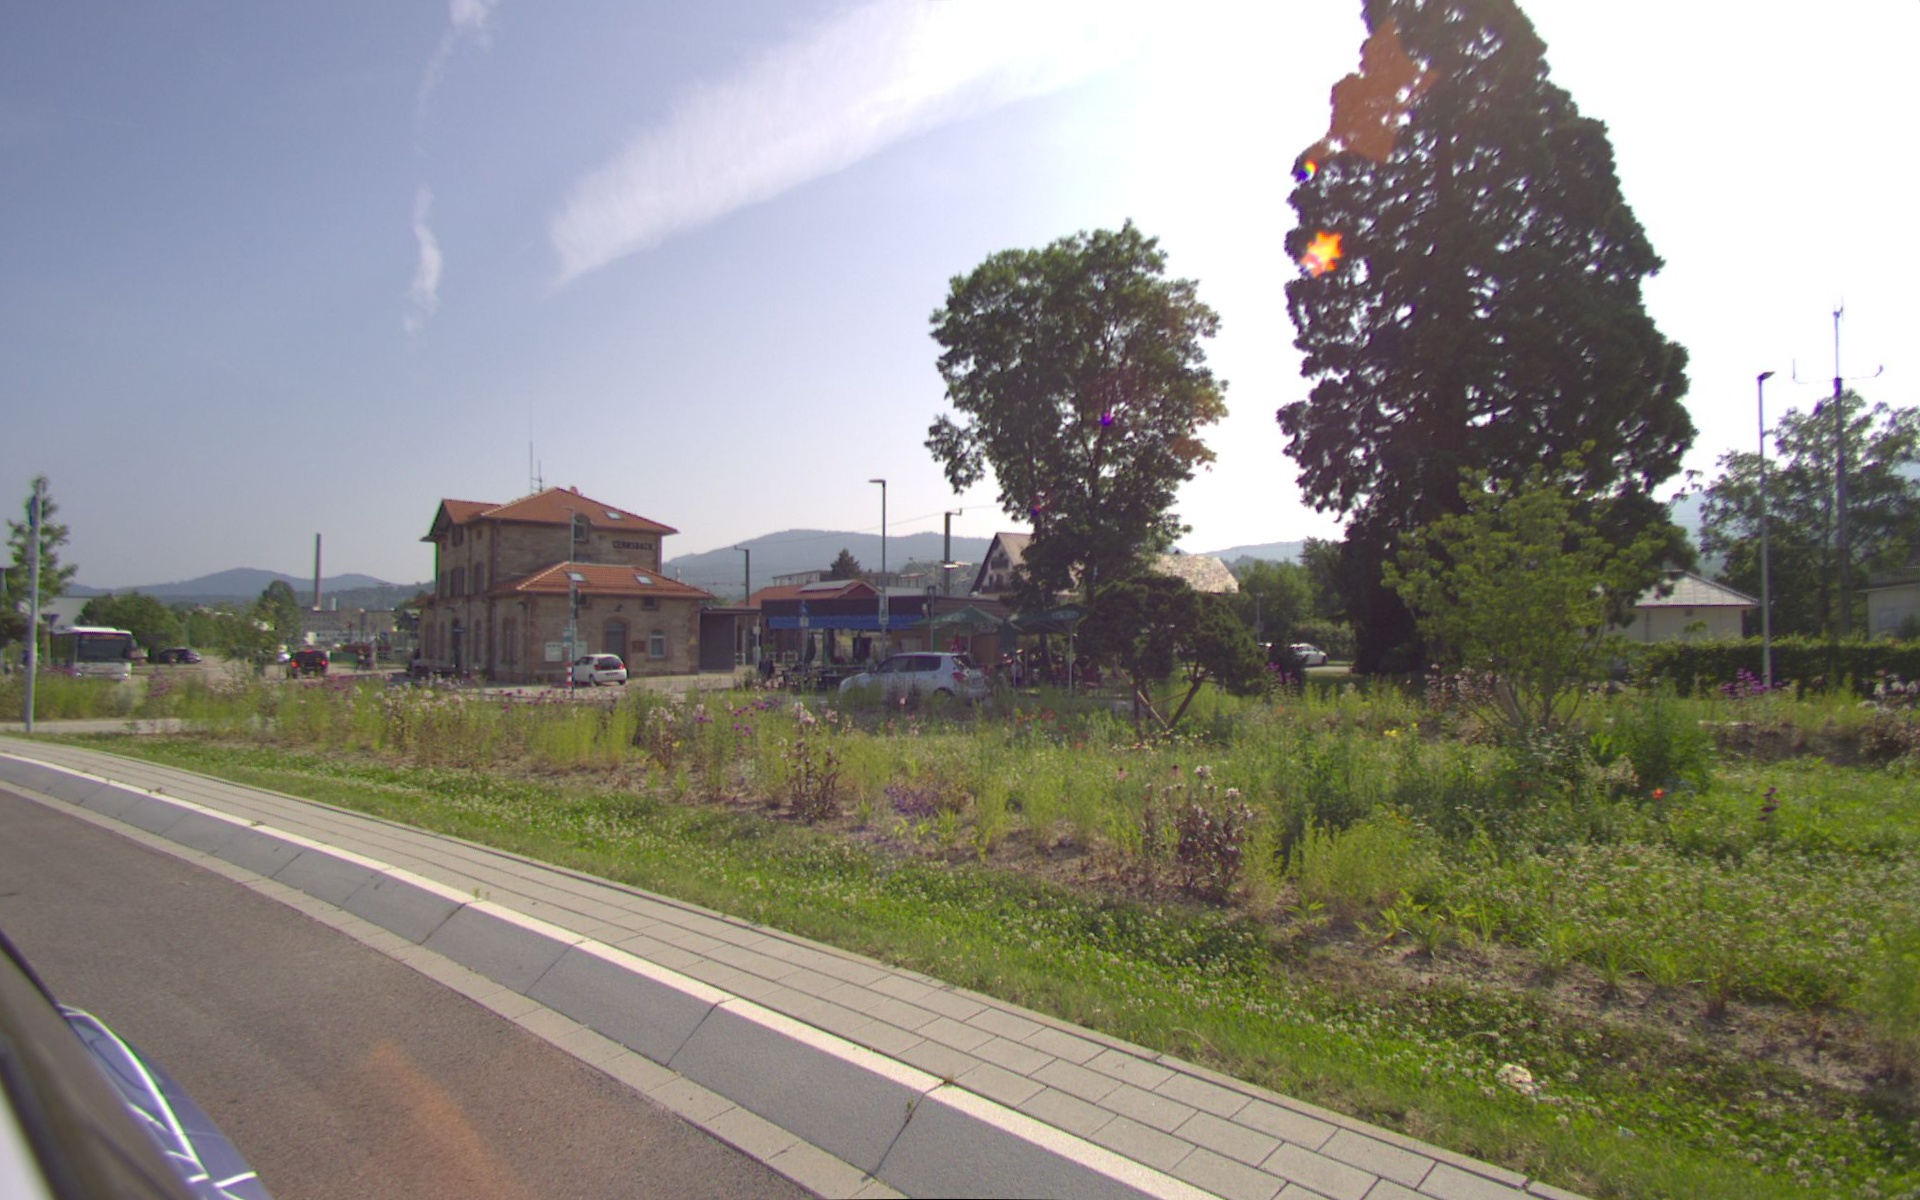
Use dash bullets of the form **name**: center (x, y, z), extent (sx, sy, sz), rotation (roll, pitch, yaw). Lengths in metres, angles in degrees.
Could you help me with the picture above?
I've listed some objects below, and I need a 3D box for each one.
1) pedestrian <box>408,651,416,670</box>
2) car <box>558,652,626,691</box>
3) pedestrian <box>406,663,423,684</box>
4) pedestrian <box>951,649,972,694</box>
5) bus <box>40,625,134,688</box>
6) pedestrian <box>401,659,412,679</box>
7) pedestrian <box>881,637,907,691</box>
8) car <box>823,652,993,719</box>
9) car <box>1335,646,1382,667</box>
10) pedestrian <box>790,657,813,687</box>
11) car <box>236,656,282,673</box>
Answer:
- **pedestrian**: center (-35.621, 3.917, 65.789), extent (0.366, 1.171, 0.507), rotation (-1, -1, -39)
- **car**: center (-17.662, 3.389, 48.482), extent (3.653, 1.580, 1.655), rotation (-1, 0, 45)
- **pedestrian**: center (-32.202, 4.352, 59.770), extent (0.778, 1.171, 0.507), rotation (-1, -1, -40)
- **pedestrian**: center (0.069, 2.591, 36.863), extent (0.563, 1.602, 0.647), rotation (-2, -1, 16)
- **bus**: center (-50.993, 3.232, 58.998), extent (10.581, 3.354, 2.554), rotation (-2, -1, 40)
- **pedestrian**: center (-33.631, 4.162, 61.516), extent (0.504, 1.171, 0.507), rotation (-1, -1, -40)
- **pedestrian**: center (-2.560, 2.485, 39.341), extent (0.702, 2.029, 0.854), rotation (-2, -1, 16)
- **car**: center (-1.313, 2.115, 25.540), extent (3.978, 1.543, 1.661), rotation (-1, -4, 26)
- **car**: center (25.873, 3.656, 65.608), extent (3.480, 1.187, 1.499), rotation (-1, -2, -45)
- **pedestrian**: center (-6.412, 2.920, 40.978), extent (0.677, 1.173, 0.554), rotation (-2, -1, 27)
- **car**: center (-80.208, 7.364, 115.886), extent (1.831, 1.740, 3.958), rotation (-2, -1, 31)
